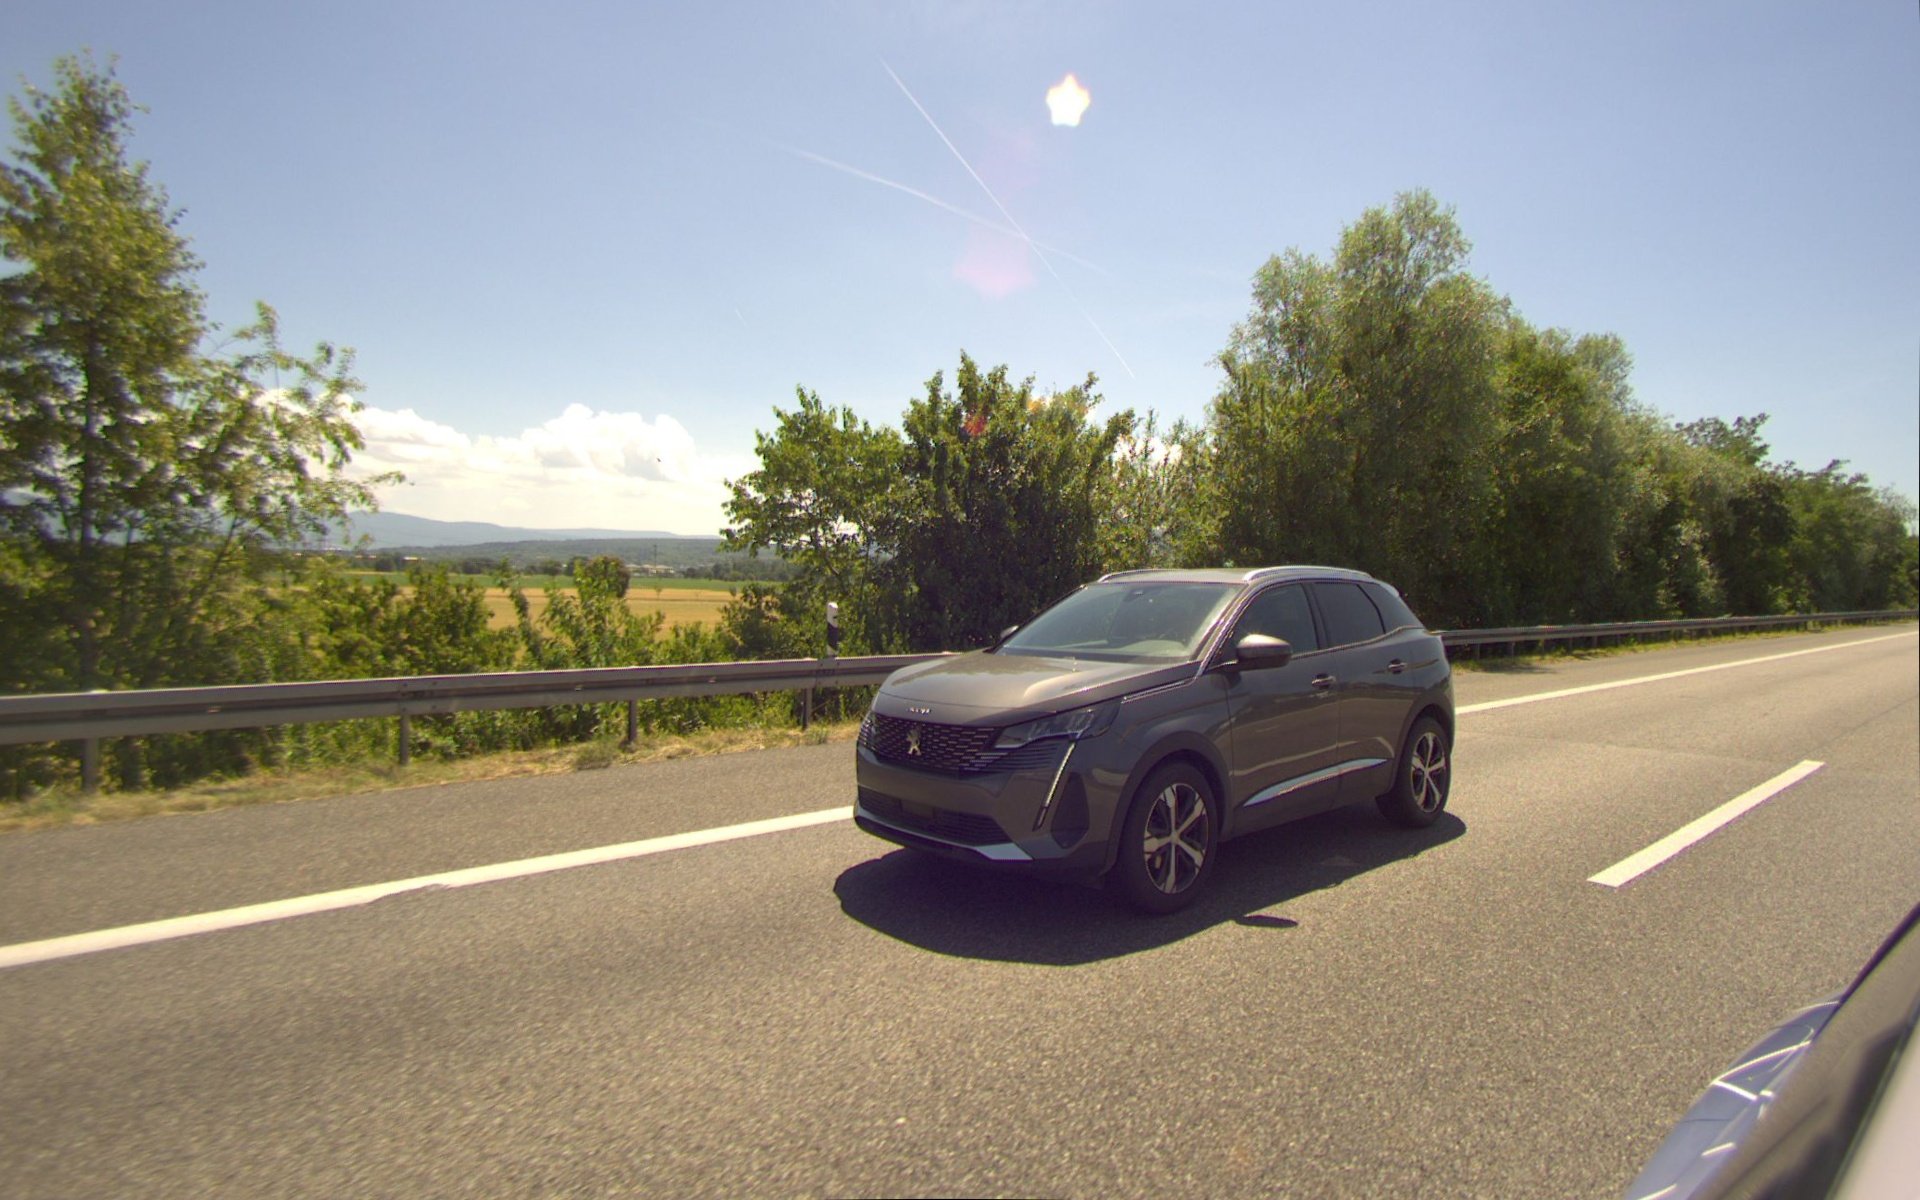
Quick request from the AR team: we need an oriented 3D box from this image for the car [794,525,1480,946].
[{"bbox_3d":[1.258,0.522,6.005,4.062,1.649,1.849,0,1,-40],"label":"car"}]
